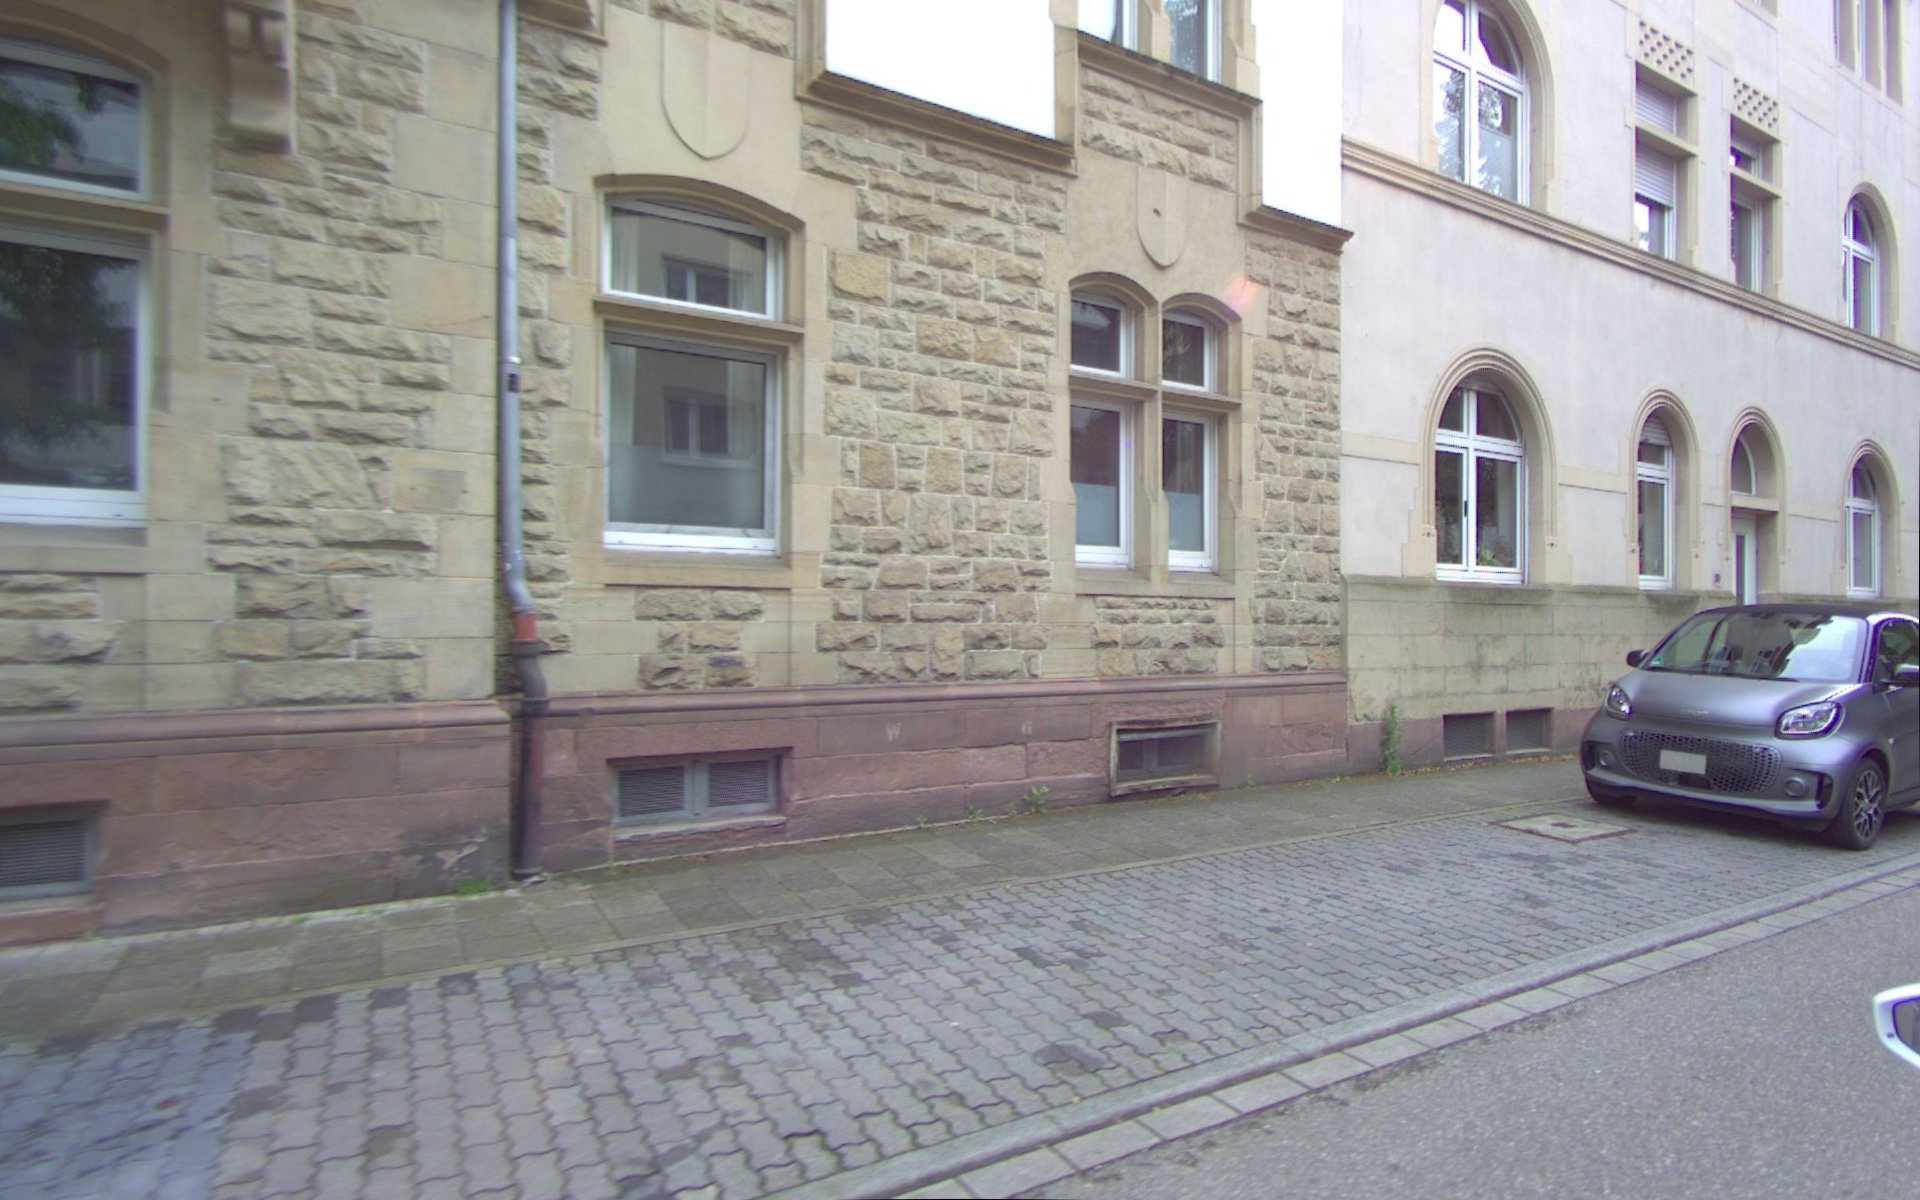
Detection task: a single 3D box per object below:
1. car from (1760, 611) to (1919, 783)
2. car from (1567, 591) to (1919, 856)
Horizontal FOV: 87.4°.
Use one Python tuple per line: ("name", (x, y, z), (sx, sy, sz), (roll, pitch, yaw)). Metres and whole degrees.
("car", (9.507, 0.873, 9.506), (3.883, 1.405, 1.718), (2, 0, -30))
("car", (6.178, 0.732, 7.513), (2.923, 1.592, 1.638), (0, 1, -31))
